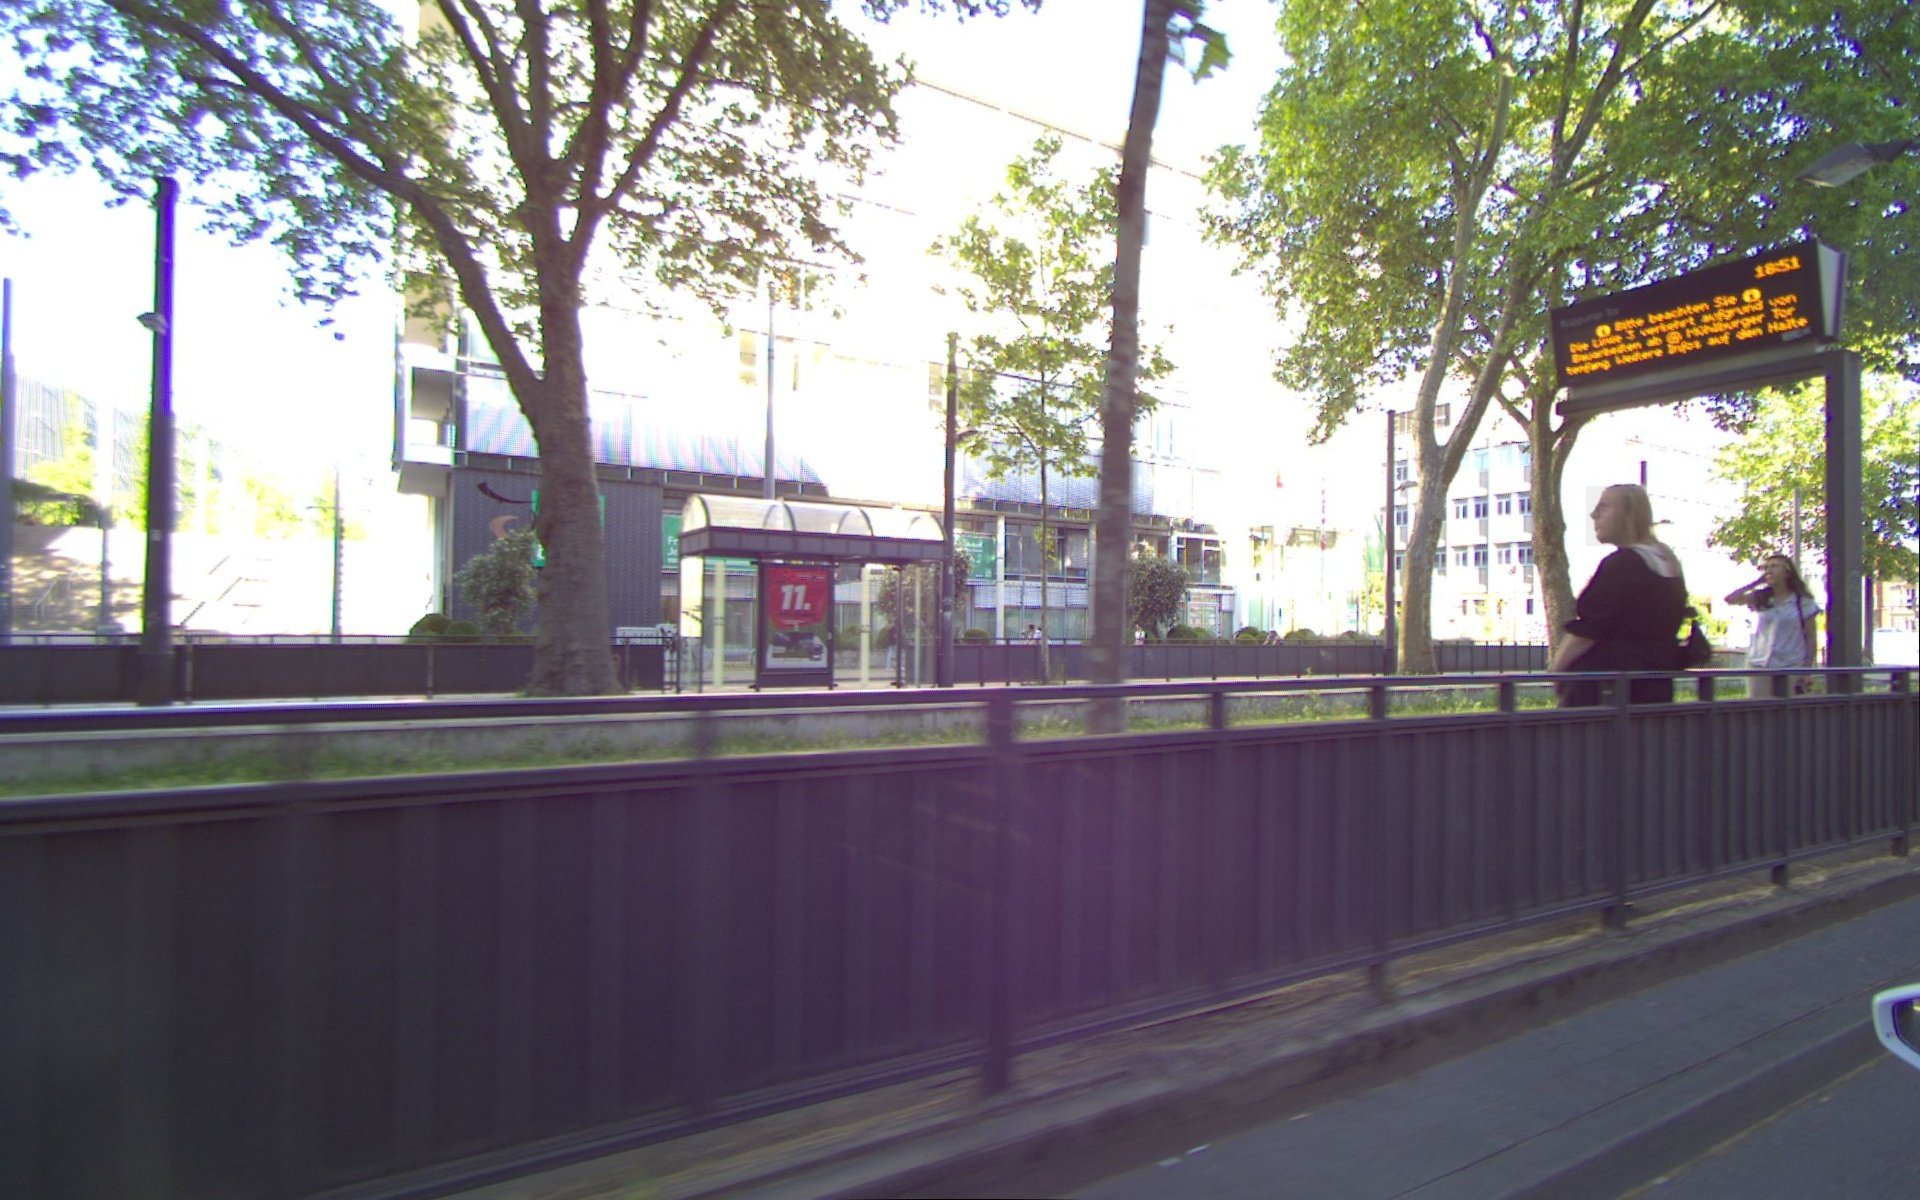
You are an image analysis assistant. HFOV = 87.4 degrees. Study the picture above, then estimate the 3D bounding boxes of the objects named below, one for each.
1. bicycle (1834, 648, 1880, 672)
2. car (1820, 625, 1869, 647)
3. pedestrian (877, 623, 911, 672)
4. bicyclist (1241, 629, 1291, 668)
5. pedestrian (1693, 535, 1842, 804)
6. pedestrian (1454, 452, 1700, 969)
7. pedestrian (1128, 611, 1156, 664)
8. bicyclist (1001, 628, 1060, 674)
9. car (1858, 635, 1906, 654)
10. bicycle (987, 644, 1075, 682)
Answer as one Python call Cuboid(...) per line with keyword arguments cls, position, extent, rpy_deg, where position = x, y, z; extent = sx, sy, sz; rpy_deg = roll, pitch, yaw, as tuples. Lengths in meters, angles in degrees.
Cuboid(cls="bicycle", position=(36.634, 2.437, 41.012), extent=(1.702, 0.958, 0.810), rpy_deg=(2, -1, -26))
Cuboid(cls="car", position=(85.236, 3.488, 96.801), extent=(4.664, 2.040, 1.987), rpy_deg=(2, -2, -27))
Cuboid(cls="pedestrian", position=(-2.202, 1.581, 33.508), extent=(0.759, 1.613, 0.901), rpy_deg=(2, -2, -31))
Cuboid(cls="bicyclist", position=(10.524, 1.645, 34.512), extent=(1.360, 1.267, 0.998), rpy_deg=(2, 0, -33))
Cuboid(cls="pedestrian", position=(6.054, 0.502, 7.540), extent=(0.744, 1.896, 0.642), rpy_deg=(2, -1, -30))
Cuboid(cls="pedestrian", position=(2.548, 0.420, 4.166), extent=(0.654, 1.911, 0.643), rpy_deg=(2, -1, -31))
Cuboid(cls="pedestrian", position=(7.003, 1.440, 38.563), extent=(0.825, 2.003, 0.602), rpy_deg=(1, 0, -33))
Cuboid(cls="bicyclist", position=(2.047, 1.461, 29.087), extent=(1.360, 1.267, 0.998), rpy_deg=(2, 0, -33))
Cuboid(cls="car", position=(86.257, 4.198, 93.977), extent=(4.321, 1.725, 1.987), rpy_deg=(2, -2, -27))
Cuboid(cls="bicycle", position=(2.072, 1.800, 29.092), extent=(2.558, 1.010, 0.795), rpy_deg=(2, 0, -34))
